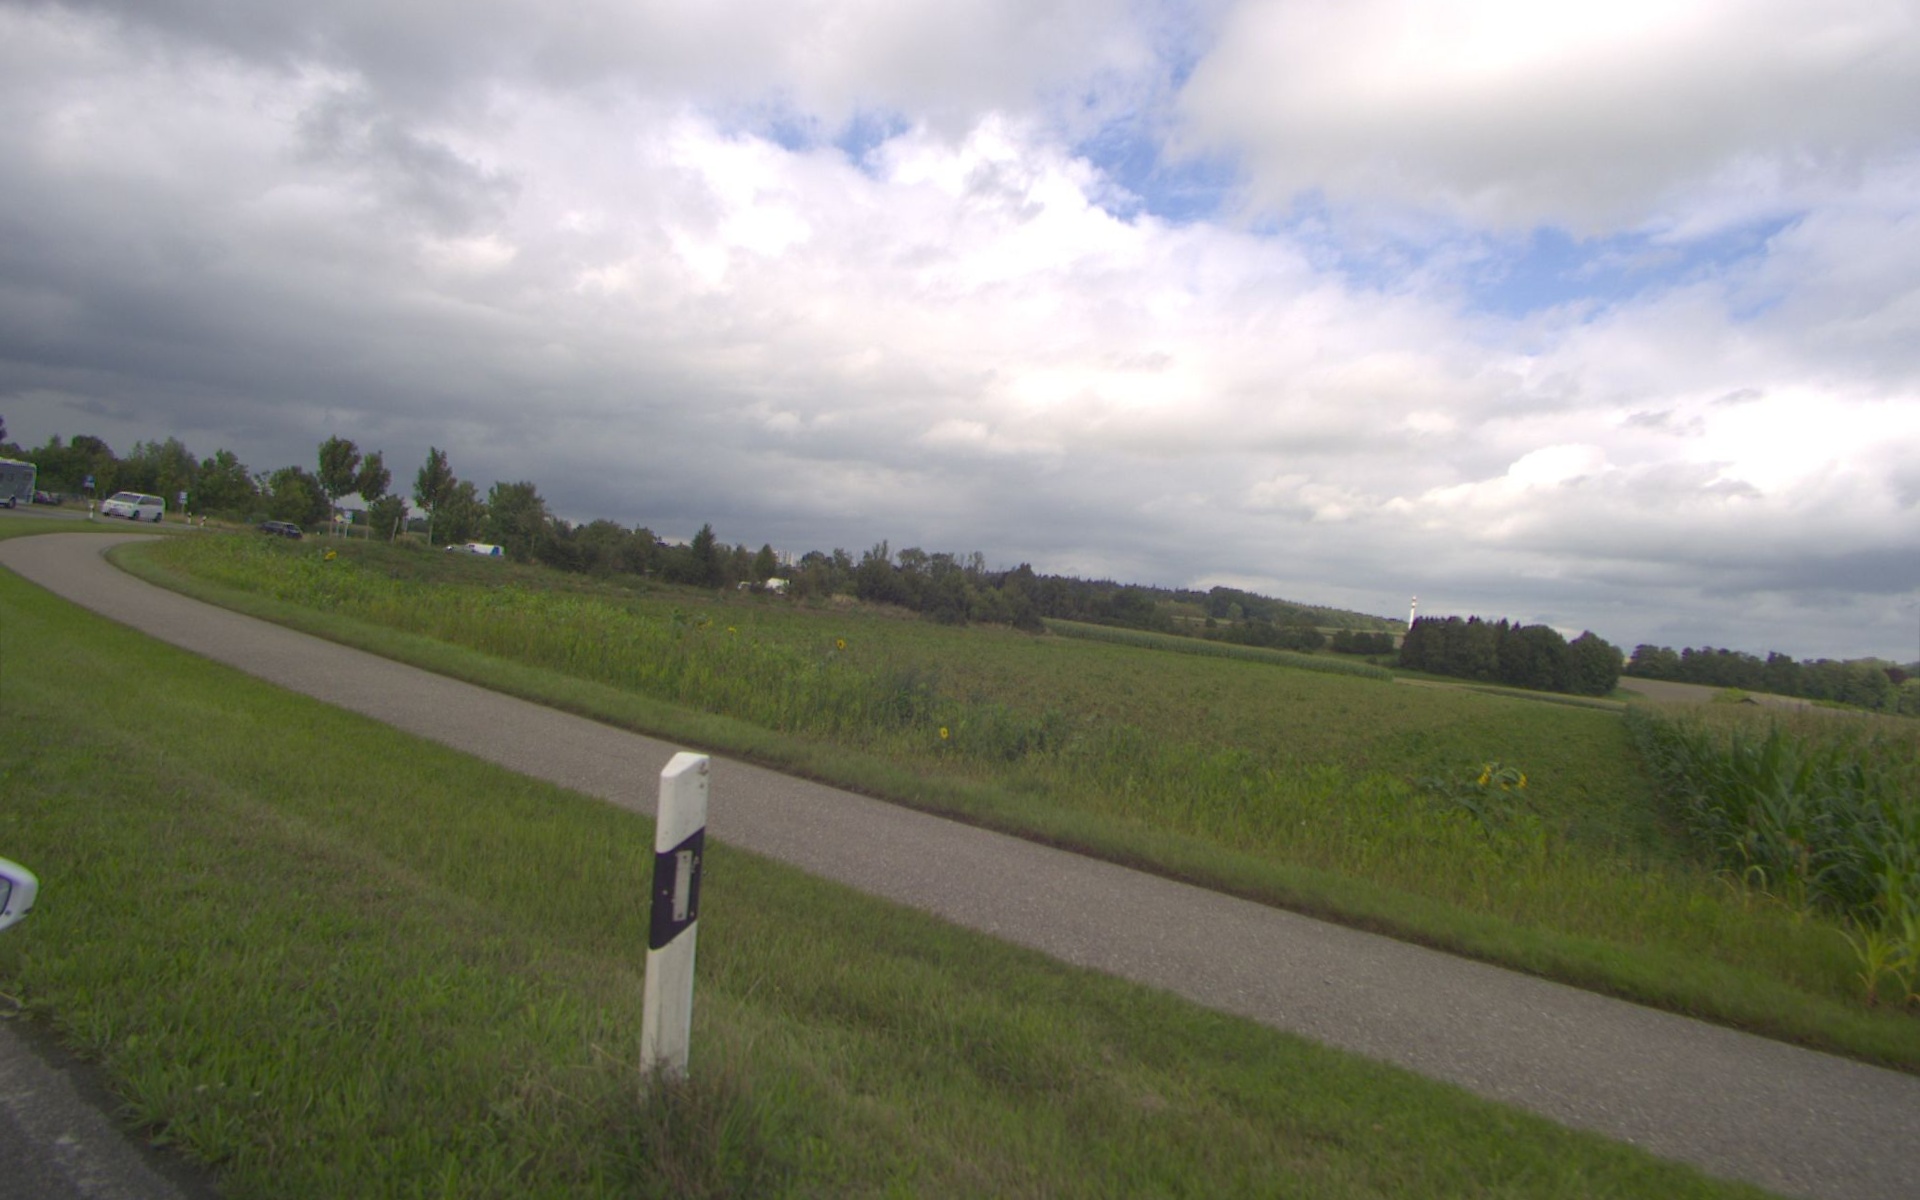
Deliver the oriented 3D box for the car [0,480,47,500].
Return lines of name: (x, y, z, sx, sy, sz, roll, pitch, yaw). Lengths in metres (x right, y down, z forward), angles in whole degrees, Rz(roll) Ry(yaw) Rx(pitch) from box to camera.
car: (-92.032, -10.790, 98.130, 3.949, 1.396, 1.814, 8, 0, -24)

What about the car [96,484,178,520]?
car: (-60.163, -7.135, 73.679, 2.084, 1.891, 5.180, 7, -1, -8)

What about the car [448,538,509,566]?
car: (-47.650, -4.729, 99.649, 4.883, 1.998, 1.950, 8, 0, -13)

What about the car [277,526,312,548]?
car: (-55.174, -5.216, 83.402, 1.834, 1.434, 3.954, 8, -1, -40)

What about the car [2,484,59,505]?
car: (-94.208, -10.692, 102.044, 3.965, 1.396, 1.462, 8, -1, -36)

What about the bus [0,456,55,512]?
bus: (-54.343, -6.713, 56.188, 2.448, 2.744, 8.392, 7, -1, -20)
